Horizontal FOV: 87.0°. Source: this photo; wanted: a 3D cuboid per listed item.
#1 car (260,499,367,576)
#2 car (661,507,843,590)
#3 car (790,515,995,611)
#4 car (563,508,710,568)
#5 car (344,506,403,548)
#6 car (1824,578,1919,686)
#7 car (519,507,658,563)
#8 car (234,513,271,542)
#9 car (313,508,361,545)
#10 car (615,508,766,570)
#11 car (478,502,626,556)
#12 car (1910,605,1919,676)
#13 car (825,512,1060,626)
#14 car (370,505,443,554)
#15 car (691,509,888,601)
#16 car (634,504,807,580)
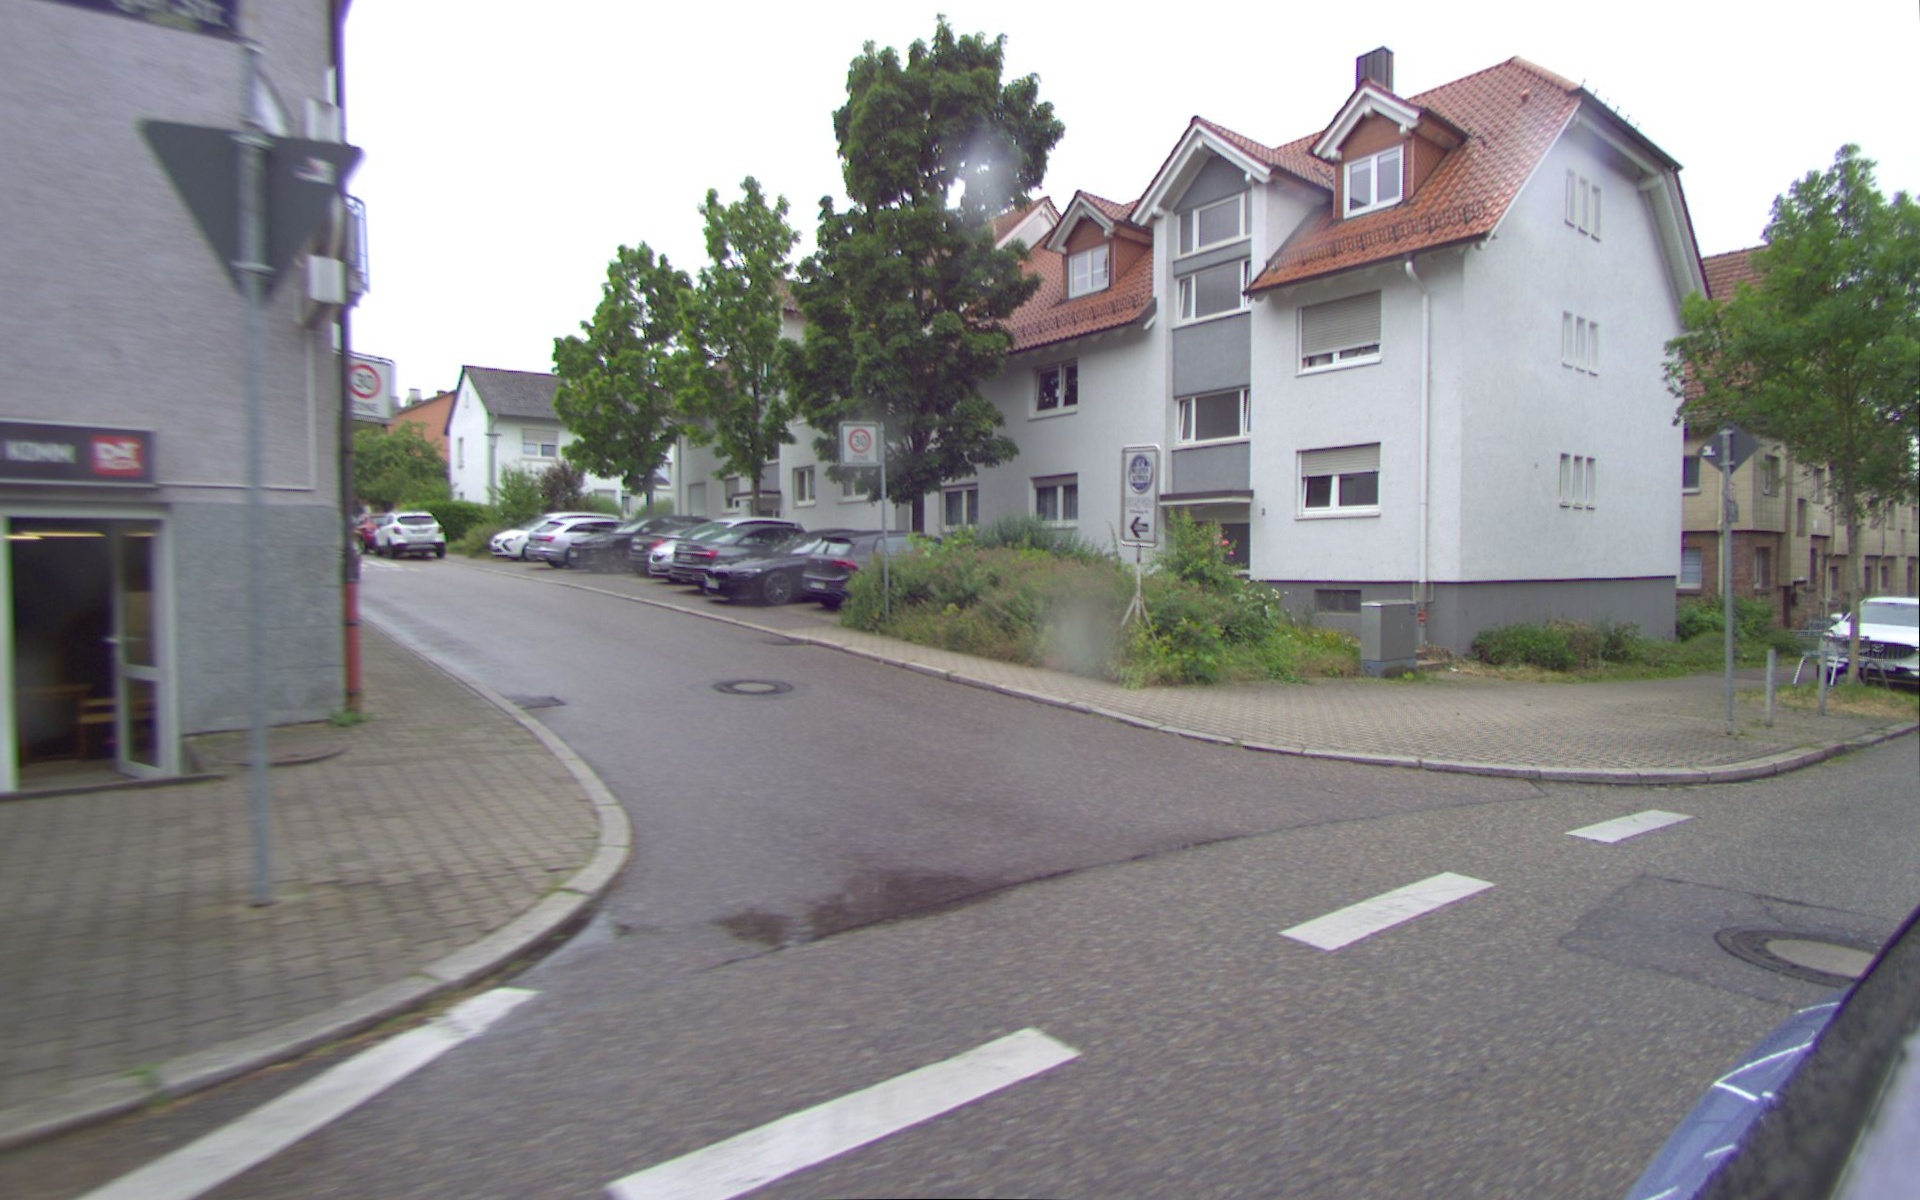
[{"bbox_3d":[-15.123,-1.493,23.603,1.733,1.582,3.624,2,3,-38],"label":"car"},{"bbox_3d":[-4.550,-1.207,22.355,3.607,1.652,1.651,-4,7,-37],"label":"car"},{"bbox_3d":[-1.247,-0.756,19.120,3.534,1.601,1.651,-3,7,-37],"label":"car"},{"bbox_3d":[-8.962,-1.783,28.125,3.538,1.527,1.599,-5,7,-39],"label":"car"},{"bbox_3d":[-23.239,-2.933,40.070,1.571,1.527,3.601,-4,7,-36],"label":"car"},{"bbox_3d":[17.769,0.564,18.693,4.456,1.794,1.829,1,1,-37],"label":"car"},{"bbox_3d":[-10.985,-1.972,30.050,3.539,1.527,1.598,-5,7,-41],"label":"car"},{"bbox_3d":[-39.909,-4.104,57.091,1.571,1.527,3.601,-4,7,-36],"label":"car"},{"bbox_3d":[-28.211,-3.363,45.796,1.571,1.527,3.602,-4,7,-35],"label":"car"},{"bbox_3d":[-7.109,-1.679,26.883,3.539,1.527,1.599,-4,7,-41],"label":"car"},{"bbox_3d":[-13.949,-2.493,34.773,4.369,1.707,1.713,-5,7,-40],"label":"car"},{"bbox_3d":[21.860,0.851,21.735,3.927,1.467,1.645,0,1,-40],"label":"car"},{"bbox_3d":[-0.250,-0.499,17.081,3.605,1.704,1.686,2,3,-37],"label":"car"},{"bbox_3d":[-19.864,-2.559,36.238,1.739,1.641,3.601,-4,7,-37],"label":"car"},{"bbox_3d":[-3.376,-0.957,20.252,3.558,1.652,1.601,-3,6,-37],"label":"car"},{"bbox_3d":[-5.870,-1.460,24.985,3.833,1.703,1.649,-3,6,-41],"label":"car"}]
